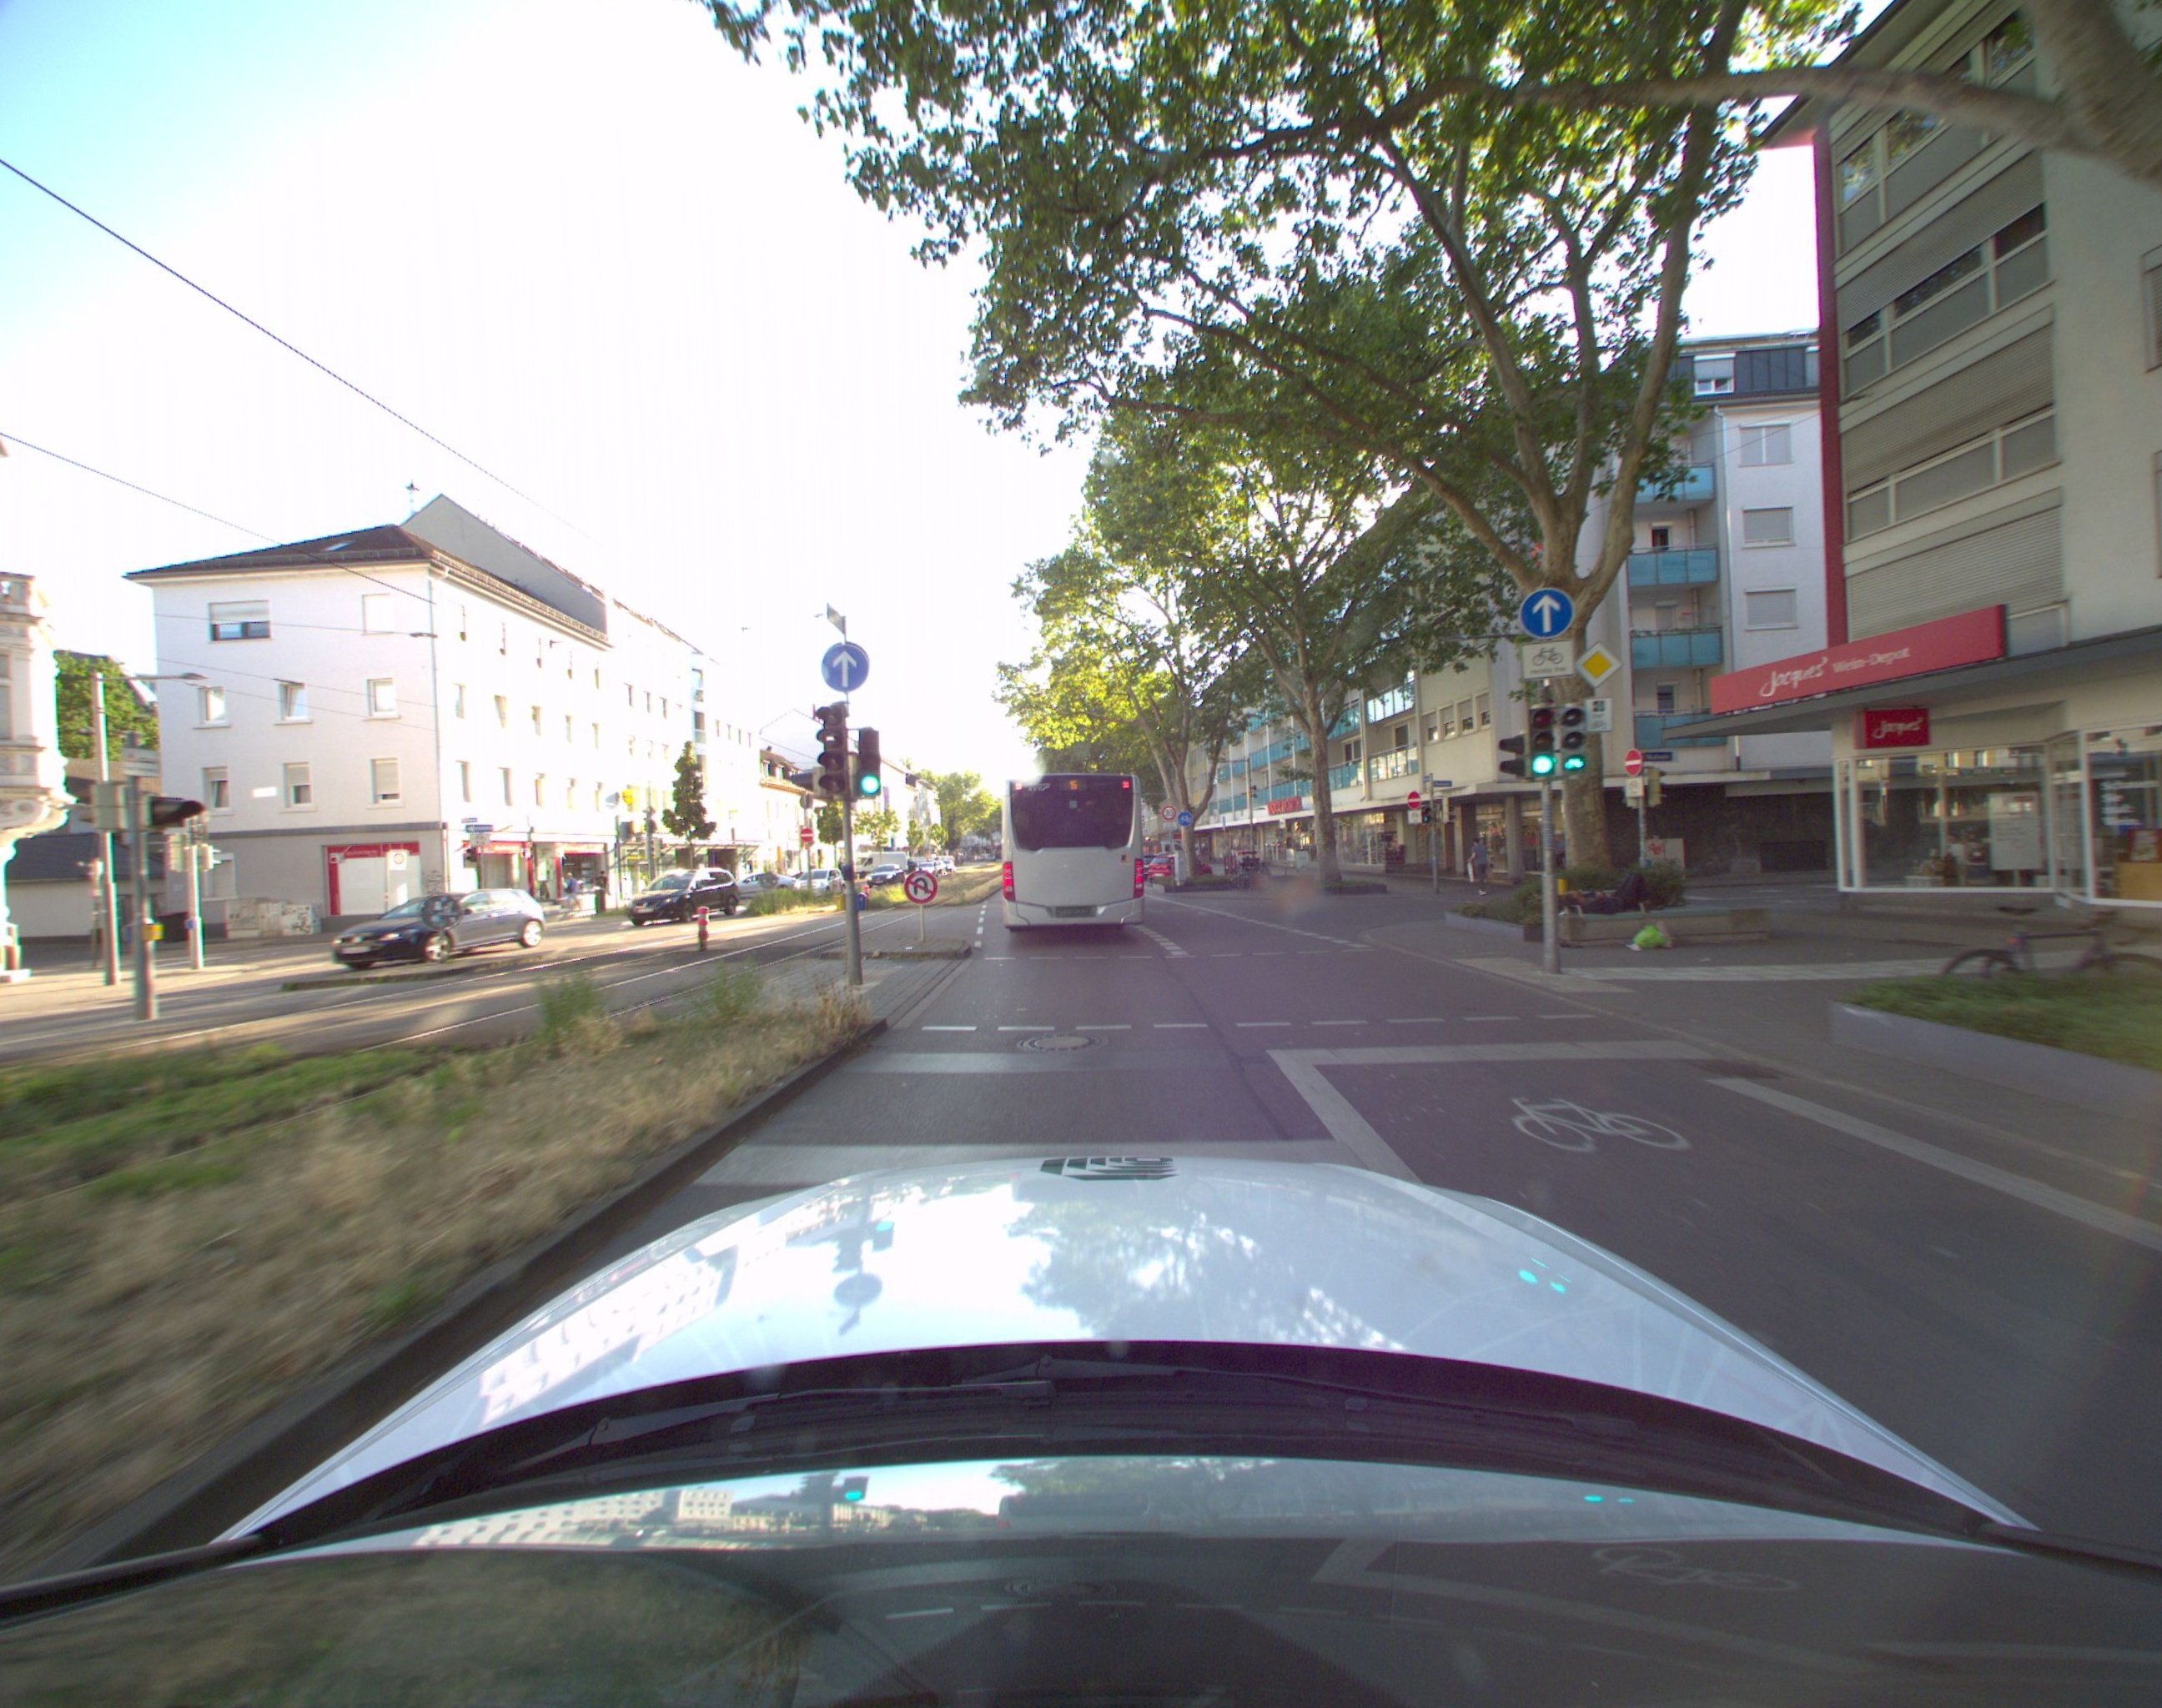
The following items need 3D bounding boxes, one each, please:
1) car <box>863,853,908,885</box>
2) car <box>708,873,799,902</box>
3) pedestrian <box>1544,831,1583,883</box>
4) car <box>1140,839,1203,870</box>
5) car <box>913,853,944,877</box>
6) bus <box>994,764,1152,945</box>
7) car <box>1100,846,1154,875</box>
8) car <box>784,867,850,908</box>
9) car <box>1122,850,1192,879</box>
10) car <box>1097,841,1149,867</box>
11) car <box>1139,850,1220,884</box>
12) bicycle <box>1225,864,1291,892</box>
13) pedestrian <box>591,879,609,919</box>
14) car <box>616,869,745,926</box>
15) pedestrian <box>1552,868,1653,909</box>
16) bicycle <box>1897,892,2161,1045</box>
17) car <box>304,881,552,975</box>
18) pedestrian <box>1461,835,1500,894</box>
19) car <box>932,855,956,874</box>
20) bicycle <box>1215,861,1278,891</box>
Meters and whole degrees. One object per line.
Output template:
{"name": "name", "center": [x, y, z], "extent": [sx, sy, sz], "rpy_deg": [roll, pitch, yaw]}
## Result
{"name": "car", "center": [-13.064, 0.990, 54.668], "extent": [1.987, 2.013, 3.999], "rpy_deg": [-2, -1, 0]}
{"name": "car", "center": [-18.865, 1.896, 46.961], "extent": [4.570, 1.412, 1.979], "rpy_deg": [-2, -1, -34]}
{"name": "pedestrian", "center": [15.933, 0.081, 26.926], "extent": [0.746, 1.679, 0.834], "rpy_deg": [-2, 1, -4]}
{"name": "car", "center": [6.208, 0.011, 55.894], "extent": [4.019, 1.970, 1.977], "rpy_deg": [-2, -1, -38]}
{"name": "car", "center": [-13.843, 1.010, 74.027], "extent": [1.987, 2.013, 3.999], "rpy_deg": [-2, -1, 0]}
{"name": "bus", "center": [-0.187, 0.002, 17.661], "extent": [2.670, 3.083, 7.110], "rpy_deg": [-1, 0, -1]}
{"name": "car", "center": [3.472, 0.459, 60.852], "extent": [1.974, 1.970, 4.025], "rpy_deg": [-3, -1, 41]}
{"name": "car", "center": [-12.929, 1.619, 40.150], "extent": [1.892, 1.804, 3.999], "rpy_deg": [-2, -1, 0]}
{"name": "car", "center": [4.492, 0.612, 47.973], "extent": [1.975, 1.530, 4.024], "rpy_deg": [-3, -1, 45]}
{"name": "car", "center": [3.381, -0.031, 65.027], "extent": [1.974, 1.970, 4.025], "rpy_deg": [-3, -1, 41]}
{"name": "car", "center": [5.005, 0.643, 41.001], "extent": [1.975, 1.530, 4.024], "rpy_deg": [-3, -1, 45]}
{"name": "bicycle", "center": [6.752, 0.903, 31.156], "extent": [2.307, 0.939, 0.835], "rpy_deg": [-2, 1, -6]}
{"name": "pedestrian", "center": [-21.314, 1.983, 36.084], "extent": [0.423, 1.713, 0.509], "rpy_deg": [-2, -1, 6]}
{"name": "car", "center": [-13.316, 1.385, 27.440], "extent": [1.772, 1.615, 4.514], "rpy_deg": [-3, 0, 4]}
{"name": "pedestrian", "center": [8.064, 0.525, 12.624], "extent": [1.249, 0.589, 0.482], "rpy_deg": [-1, -1, 0]}
{"name": "bicycle", "center": [7.404, 0.873, 6.387], "extent": [1.503, 1.105, 0.461], "rpy_deg": [1, 0, 2]}
{"name": "car", "center": [-13.764, 1.482, 17.536], "extent": [1.772, 1.450, 4.049], "rpy_deg": [-4, 1, 4]}
{"name": "pedestrian", "center": [12.669, 0.323, 25.844], "extent": [0.777, 1.794, 0.764], "rpy_deg": [-3, -1, 2]}
{"name": "car", "center": [-15.284, 1.202, 90.940], "extent": [1.987, 2.013, 3.999], "rpy_deg": [-2, -1, 0]}
{"name": "bicycle", "center": [6.574, 0.865, 32.442], "extent": [2.307, 1.028, 0.835], "rpy_deg": [-2, 1, -6]}
